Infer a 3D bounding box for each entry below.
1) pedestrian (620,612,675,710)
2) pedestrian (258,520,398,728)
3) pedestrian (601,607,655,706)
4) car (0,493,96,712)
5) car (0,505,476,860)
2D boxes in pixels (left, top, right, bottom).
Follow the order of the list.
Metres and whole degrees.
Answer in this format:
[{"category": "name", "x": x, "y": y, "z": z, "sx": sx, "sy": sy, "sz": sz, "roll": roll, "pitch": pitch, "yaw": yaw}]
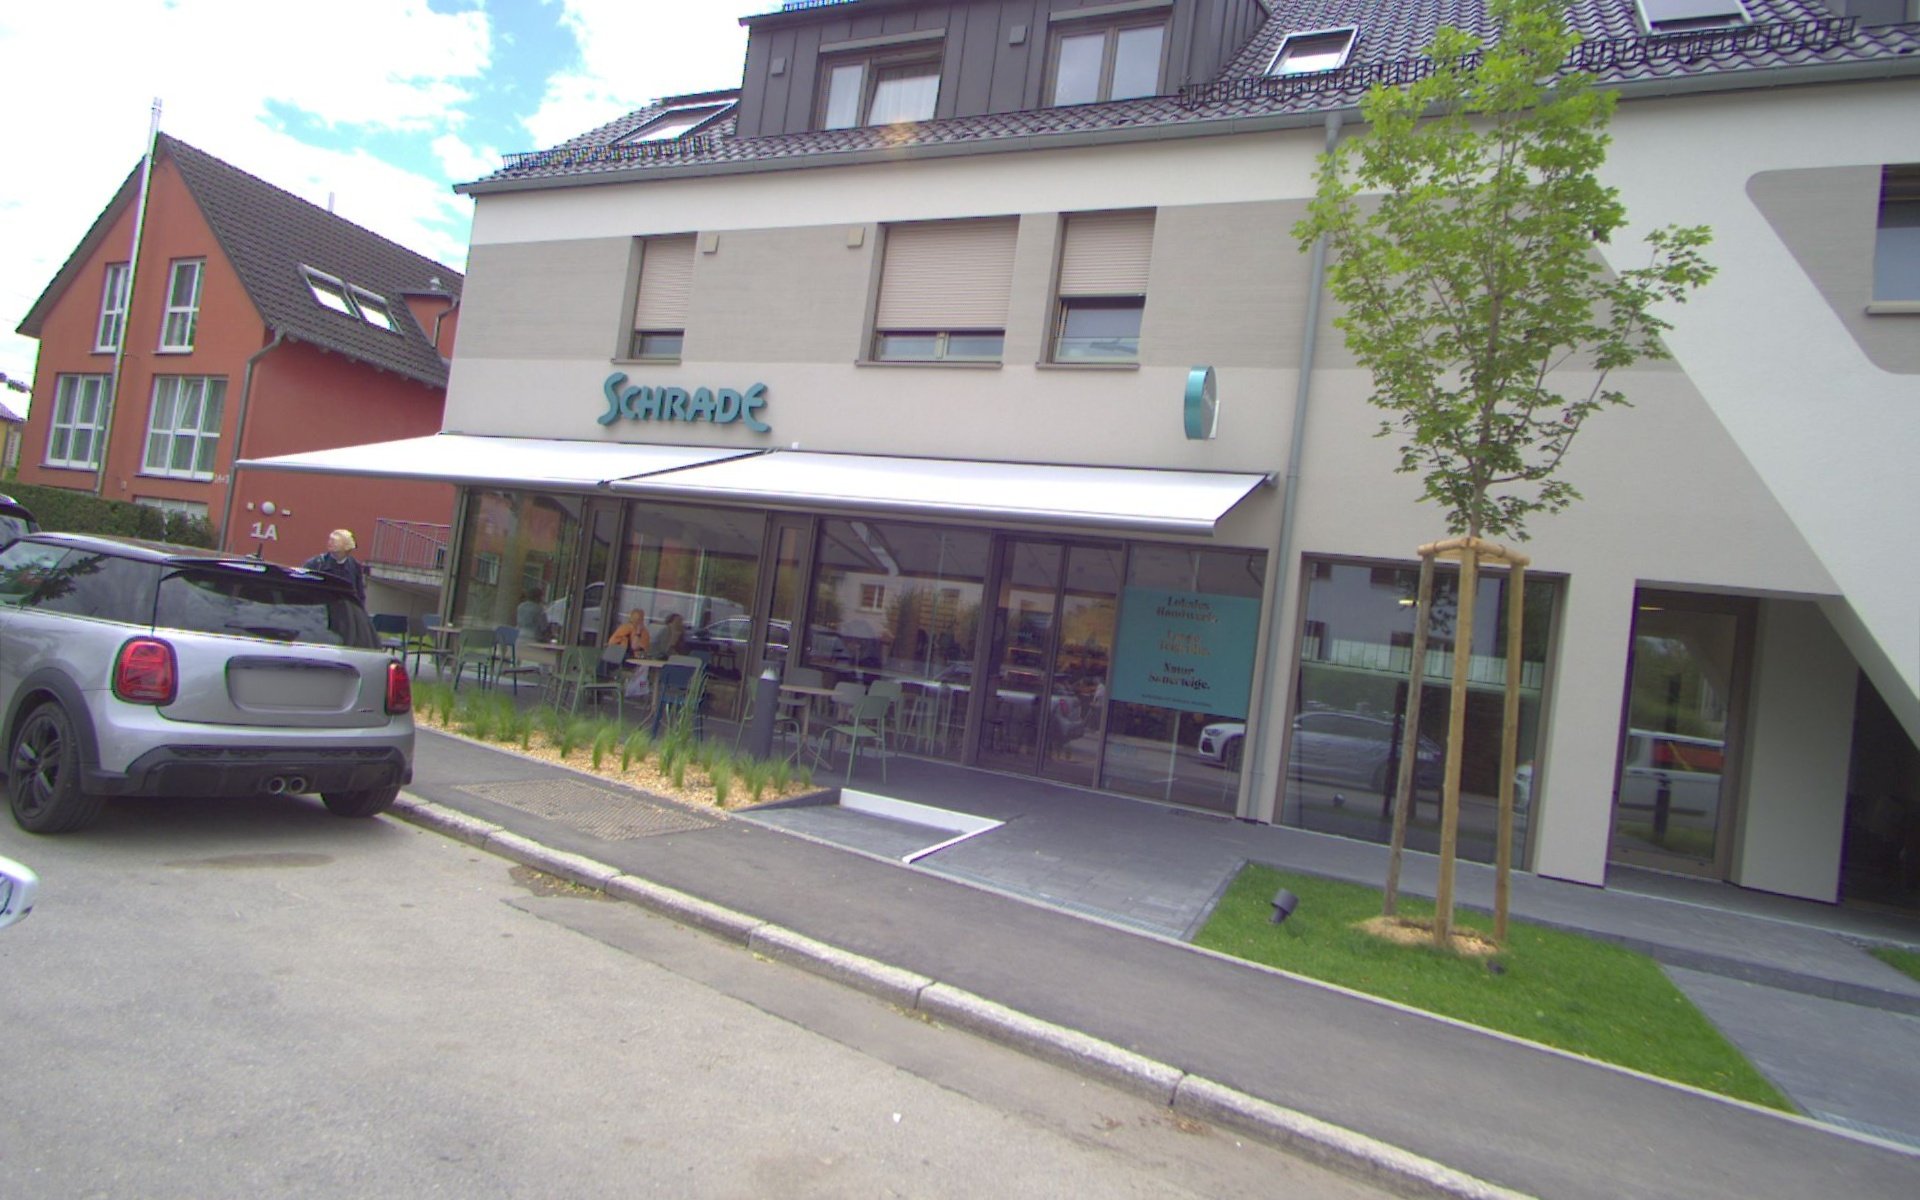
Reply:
[{"category": "pedestrian", "x": -3.928, "y": 0.766, "z": 12.638, "sx": 0.318, "sy": 1.179, "sz": 0.422, "roll": 6, "pitch": -2, "yaw": 28}, {"category": "pedestrian", "x": -5.264, "y": 0.206, "z": 8.398, "sx": 0.520, "sy": 1.623, "sz": 0.592, "roll": 6, "pitch": -4, "yaw": 32}, {"category": "pedestrian", "x": -4.220, "y": 0.723, "z": 12.796, "sx": 0.318, "sy": 1.195, "sz": 0.422, "roll": 6, "pitch": -2, "yaw": 28}, {"category": "car", "x": -9.294, "y": -0.248, "z": 8.276, "sx": 4.184, "sy": 1.631, "sz": 1.709, "roll": 7, "pitch": -4, "yaw": 28}, {"category": "car", "x": -4.976, "y": 0.352, "z": 6.054, "sx": 3.592, "sy": 1.510, "sz": 1.749, "roll": 6, "pitch": -5, "yaw": 28}]
